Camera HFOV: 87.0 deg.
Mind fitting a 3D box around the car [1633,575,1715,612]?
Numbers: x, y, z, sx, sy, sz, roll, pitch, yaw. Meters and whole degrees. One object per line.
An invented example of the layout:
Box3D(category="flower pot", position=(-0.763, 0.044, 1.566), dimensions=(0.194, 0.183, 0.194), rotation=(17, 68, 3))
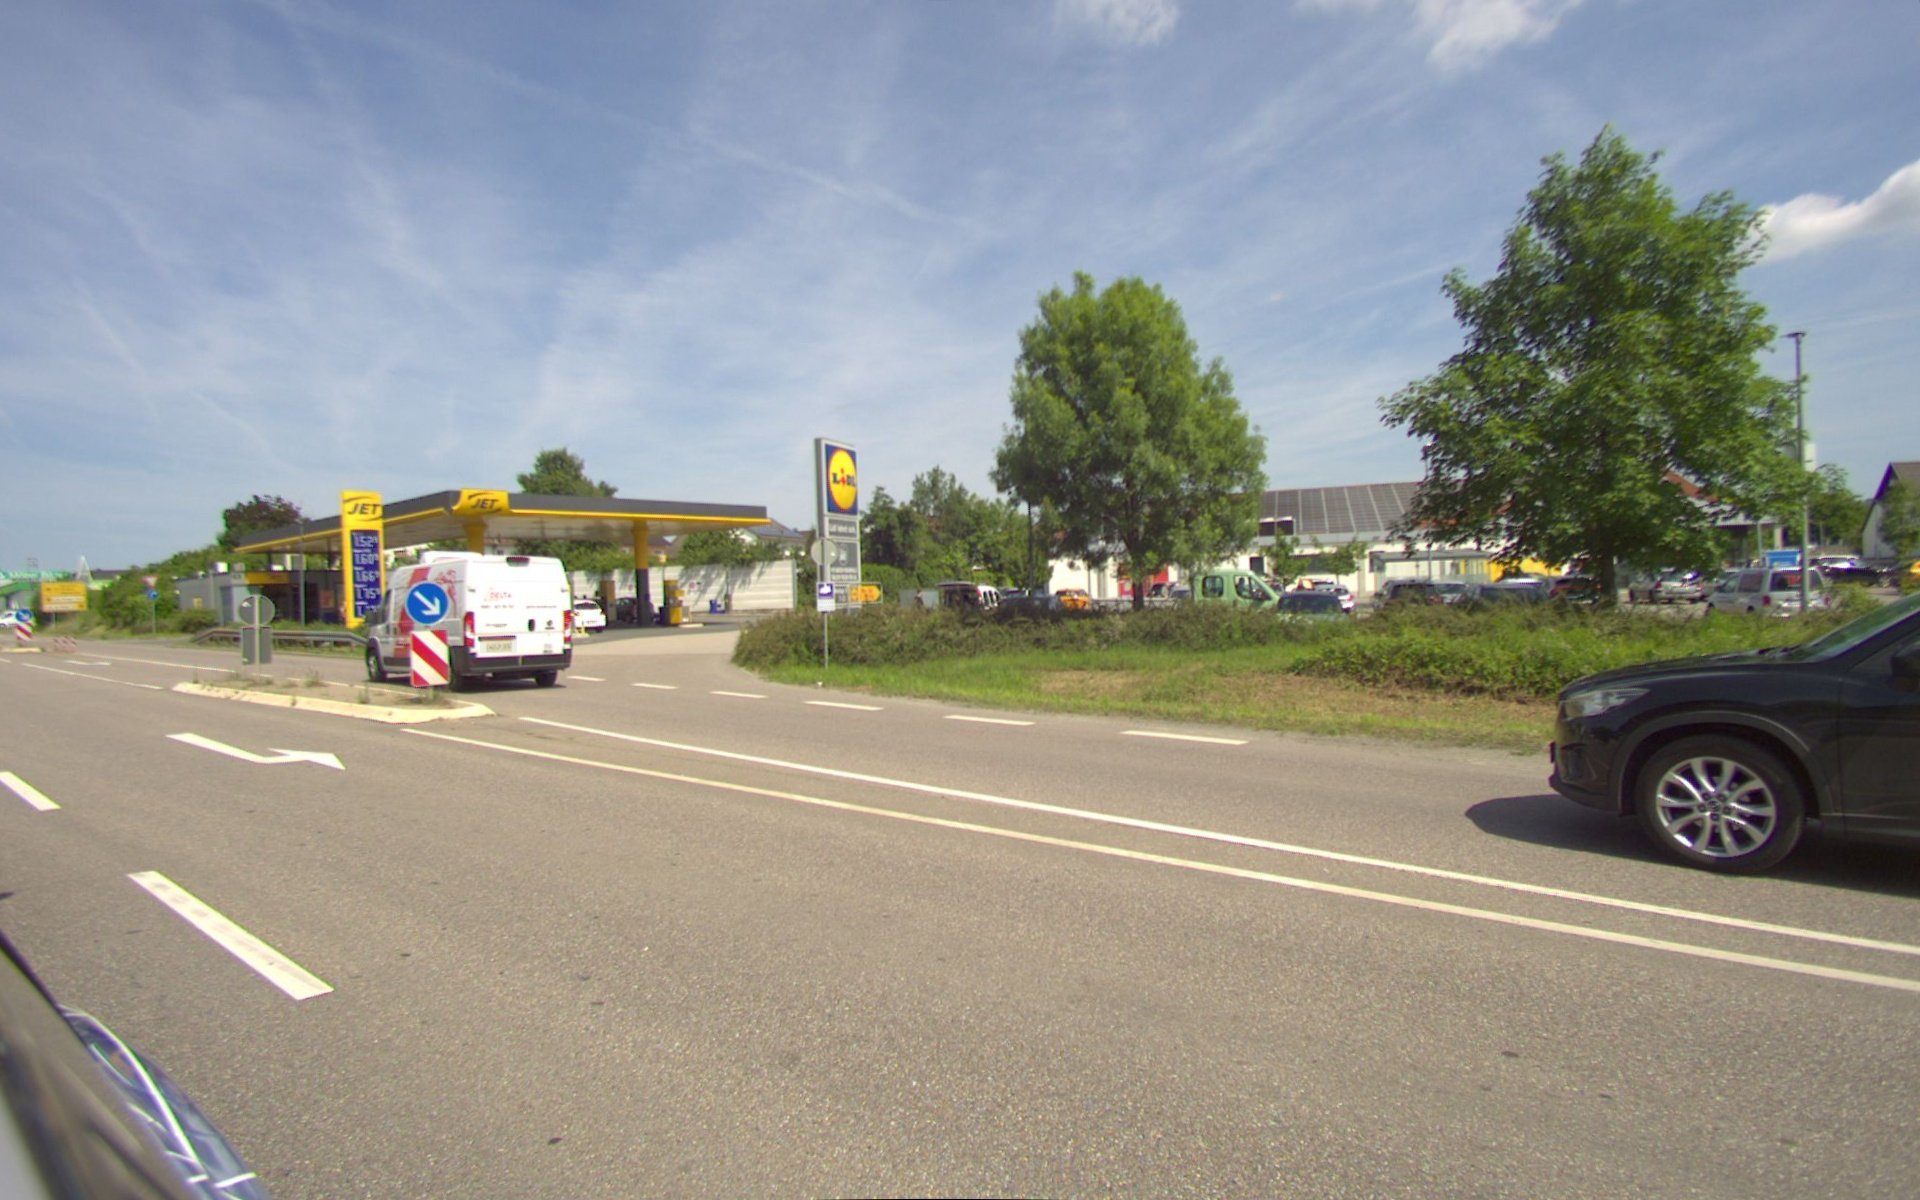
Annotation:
Box3D(category="car", position=(31.495, -0.290, 44.756), dimensions=(1.865, 1.553, 4.231), rotation=(0, 0, 20))

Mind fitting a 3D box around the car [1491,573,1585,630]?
Box3D(category="car", position=(18.205, 0.044, 32.052), dimensions=(1.912, 1.701, 3.973), rotation=(0, 0, 20))

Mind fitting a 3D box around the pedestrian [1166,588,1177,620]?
Box3D(category="pedestrian", position=(10.344, 0.210, 49.463), dimensions=(0.501, 1.564, 0.515), rotation=(-1, 0, 16))

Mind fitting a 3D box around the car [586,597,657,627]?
Box3D(category="car", position=(-19.328, 0.668, 57.763), dimensions=(3.862, 1.625, 1.735), rotation=(-1, -1, 31))

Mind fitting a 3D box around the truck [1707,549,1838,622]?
Box3D(category="truck", position=(27.867, -0.471, 34.884), dimensions=(1.981, 2.383, 3.982), rotation=(-1, 0, 14))

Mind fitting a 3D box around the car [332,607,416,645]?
Box3D(category="car", position=(-27.729, 1.243, 47.825), dimensions=(4.258, 1.719, 1.975), rotation=(-2, -1, 38))

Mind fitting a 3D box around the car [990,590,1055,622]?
Box3D(category="car", position=(3.417, 0.294, 54.499), dimensions=(1.765, 1.551, 3.956), rotation=(-2, 0, 33))

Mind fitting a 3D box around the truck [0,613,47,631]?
Box3D(category="truck", position=(-112.253, 2.615, 120.748), dimensions=(2.000, 2.024, 4.708), rotation=(-1, 1, 42))

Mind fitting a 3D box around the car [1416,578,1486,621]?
Box3D(category="car", position=(18.325, -0.021, 37.927), dimensions=(1.764, 1.540, 3.977), rotation=(0, 0, 17))

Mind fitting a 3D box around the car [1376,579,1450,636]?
Box3D(category="car", position=(14.660, 0.198, 32.933), dimensions=(1.898, 1.687, 3.974), rotation=(-1, 1, 20))

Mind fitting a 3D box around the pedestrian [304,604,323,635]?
Box3D(category="pedestrian", position=(-39.140, 1.178, 61.252), dimensions=(0.639, 1.852, 0.788), rotation=(-2, 0, 41))

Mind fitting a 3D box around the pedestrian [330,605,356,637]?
Box3D(category="pedestrian", position=(-28.440, 0.949, 46.648), dimensions=(0.494, 1.438, 0.903), rotation=(-1, 0, 41))

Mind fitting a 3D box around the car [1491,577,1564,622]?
Box3D(category="car", position=(20.581, -0.038, 36.853), dimensions=(1.767, 1.540, 3.972), rotation=(0, 0, 21))

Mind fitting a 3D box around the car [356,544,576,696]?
Box3D(category="car", position=(-10.218, 0.409, 20.634), dimensions=(5.987, 2.674, 2.094), rotation=(-1, -1, 44))

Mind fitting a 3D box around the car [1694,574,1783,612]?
Box3D(category="car", position=(33.910, -0.294, 44.212), dimensions=(1.865, 1.553, 4.231), rotation=(0, 0, 20))

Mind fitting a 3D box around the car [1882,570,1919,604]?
Box3D(category="car", position=(45.118, -0.611, 46.084), dimensions=(4.223, 1.553, 1.869), rotation=(0, 0, 18))

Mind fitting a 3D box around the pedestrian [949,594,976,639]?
Box3D(category="pedestrian", position=(0.090, 0.575, 36.337), dimensions=(0.801, 1.587, 0.701), rotation=(-1, 0, 13))

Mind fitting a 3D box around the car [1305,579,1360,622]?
Box3D(category="car", position=(14.268, 0.014, 38.932), dimensions=(1.764, 1.540, 3.977), rotation=(0, 0, 17))

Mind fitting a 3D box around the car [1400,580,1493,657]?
Box3D(category="car", position=(11.417, 0.391, 23.940), dimensions=(1.683, 1.670, 3.971), rotation=(0, 0, 22))

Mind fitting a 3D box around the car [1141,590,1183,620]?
Box3D(category="car", position=(10.463, 0.218, 52.285), dimensions=(1.868, 1.453, 3.981), rotation=(-1, 1, 15))

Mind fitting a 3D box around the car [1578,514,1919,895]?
Box3D(category="car", position=(5.565, 0.471, 4.878), dimensions=(4.111, 1.763, 1.846), rotation=(-1, -1, 44))

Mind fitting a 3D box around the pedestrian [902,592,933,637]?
Box3D(category="pedestrian", position=(-1.525, 0.510, 36.305), dimensions=(0.807, 1.587, 0.696), rotation=(-2, -1, 36))

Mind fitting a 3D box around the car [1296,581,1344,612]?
Box3D(category="car", position=(17.951, -0.180, 50.563), dimensions=(1.868, 1.453, 3.981), rotation=(-1, 1, 15))

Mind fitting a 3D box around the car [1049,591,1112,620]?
Box3D(category="car", position=(6.509, 0.269, 54.309), dimensions=(1.879, 1.453, 3.958), rotation=(-1, 1, 31))

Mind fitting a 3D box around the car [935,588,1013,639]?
Box3D(category="car", position=(0.587, 0.474, 38.718), dimensions=(1.865, 1.825, 4.145), rotation=(-1, 0, 17))

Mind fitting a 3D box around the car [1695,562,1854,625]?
Box3D(category="car", position=(24.213, -0.170, 30.322), dimensions=(1.981, 1.708, 4.408), rotation=(-1, 0, 14))

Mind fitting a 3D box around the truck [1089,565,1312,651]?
Box3D(category="truck", position=(7.222, 0.273, 30.661), dimensions=(6.293, 2.393, 2.237), rotation=(-1, -1, 16))

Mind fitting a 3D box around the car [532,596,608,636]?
Box3D(category="car", position=(-17.770, 0.770, 46.073), dimensions=(4.001, 1.741, 1.713), rotation=(-2, -3, 44))

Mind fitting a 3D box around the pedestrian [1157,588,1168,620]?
Box3D(category="pedestrian", position=(9.812, 0.195, 49.012), dimensions=(0.501, 1.564, 0.515), rotation=(-1, 0, 15))

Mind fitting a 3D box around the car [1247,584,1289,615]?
Box3D(category="car", position=(15.545, -0.065, 51.258), dimensions=(1.868, 1.453, 3.981), rotation=(-1, 1, 15))

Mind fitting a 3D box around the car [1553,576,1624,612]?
Box3D(category="car", position=(28.462, -0.249, 45.988), dimensions=(1.865, 1.553, 4.231), rotation=(0, 0, 20))
